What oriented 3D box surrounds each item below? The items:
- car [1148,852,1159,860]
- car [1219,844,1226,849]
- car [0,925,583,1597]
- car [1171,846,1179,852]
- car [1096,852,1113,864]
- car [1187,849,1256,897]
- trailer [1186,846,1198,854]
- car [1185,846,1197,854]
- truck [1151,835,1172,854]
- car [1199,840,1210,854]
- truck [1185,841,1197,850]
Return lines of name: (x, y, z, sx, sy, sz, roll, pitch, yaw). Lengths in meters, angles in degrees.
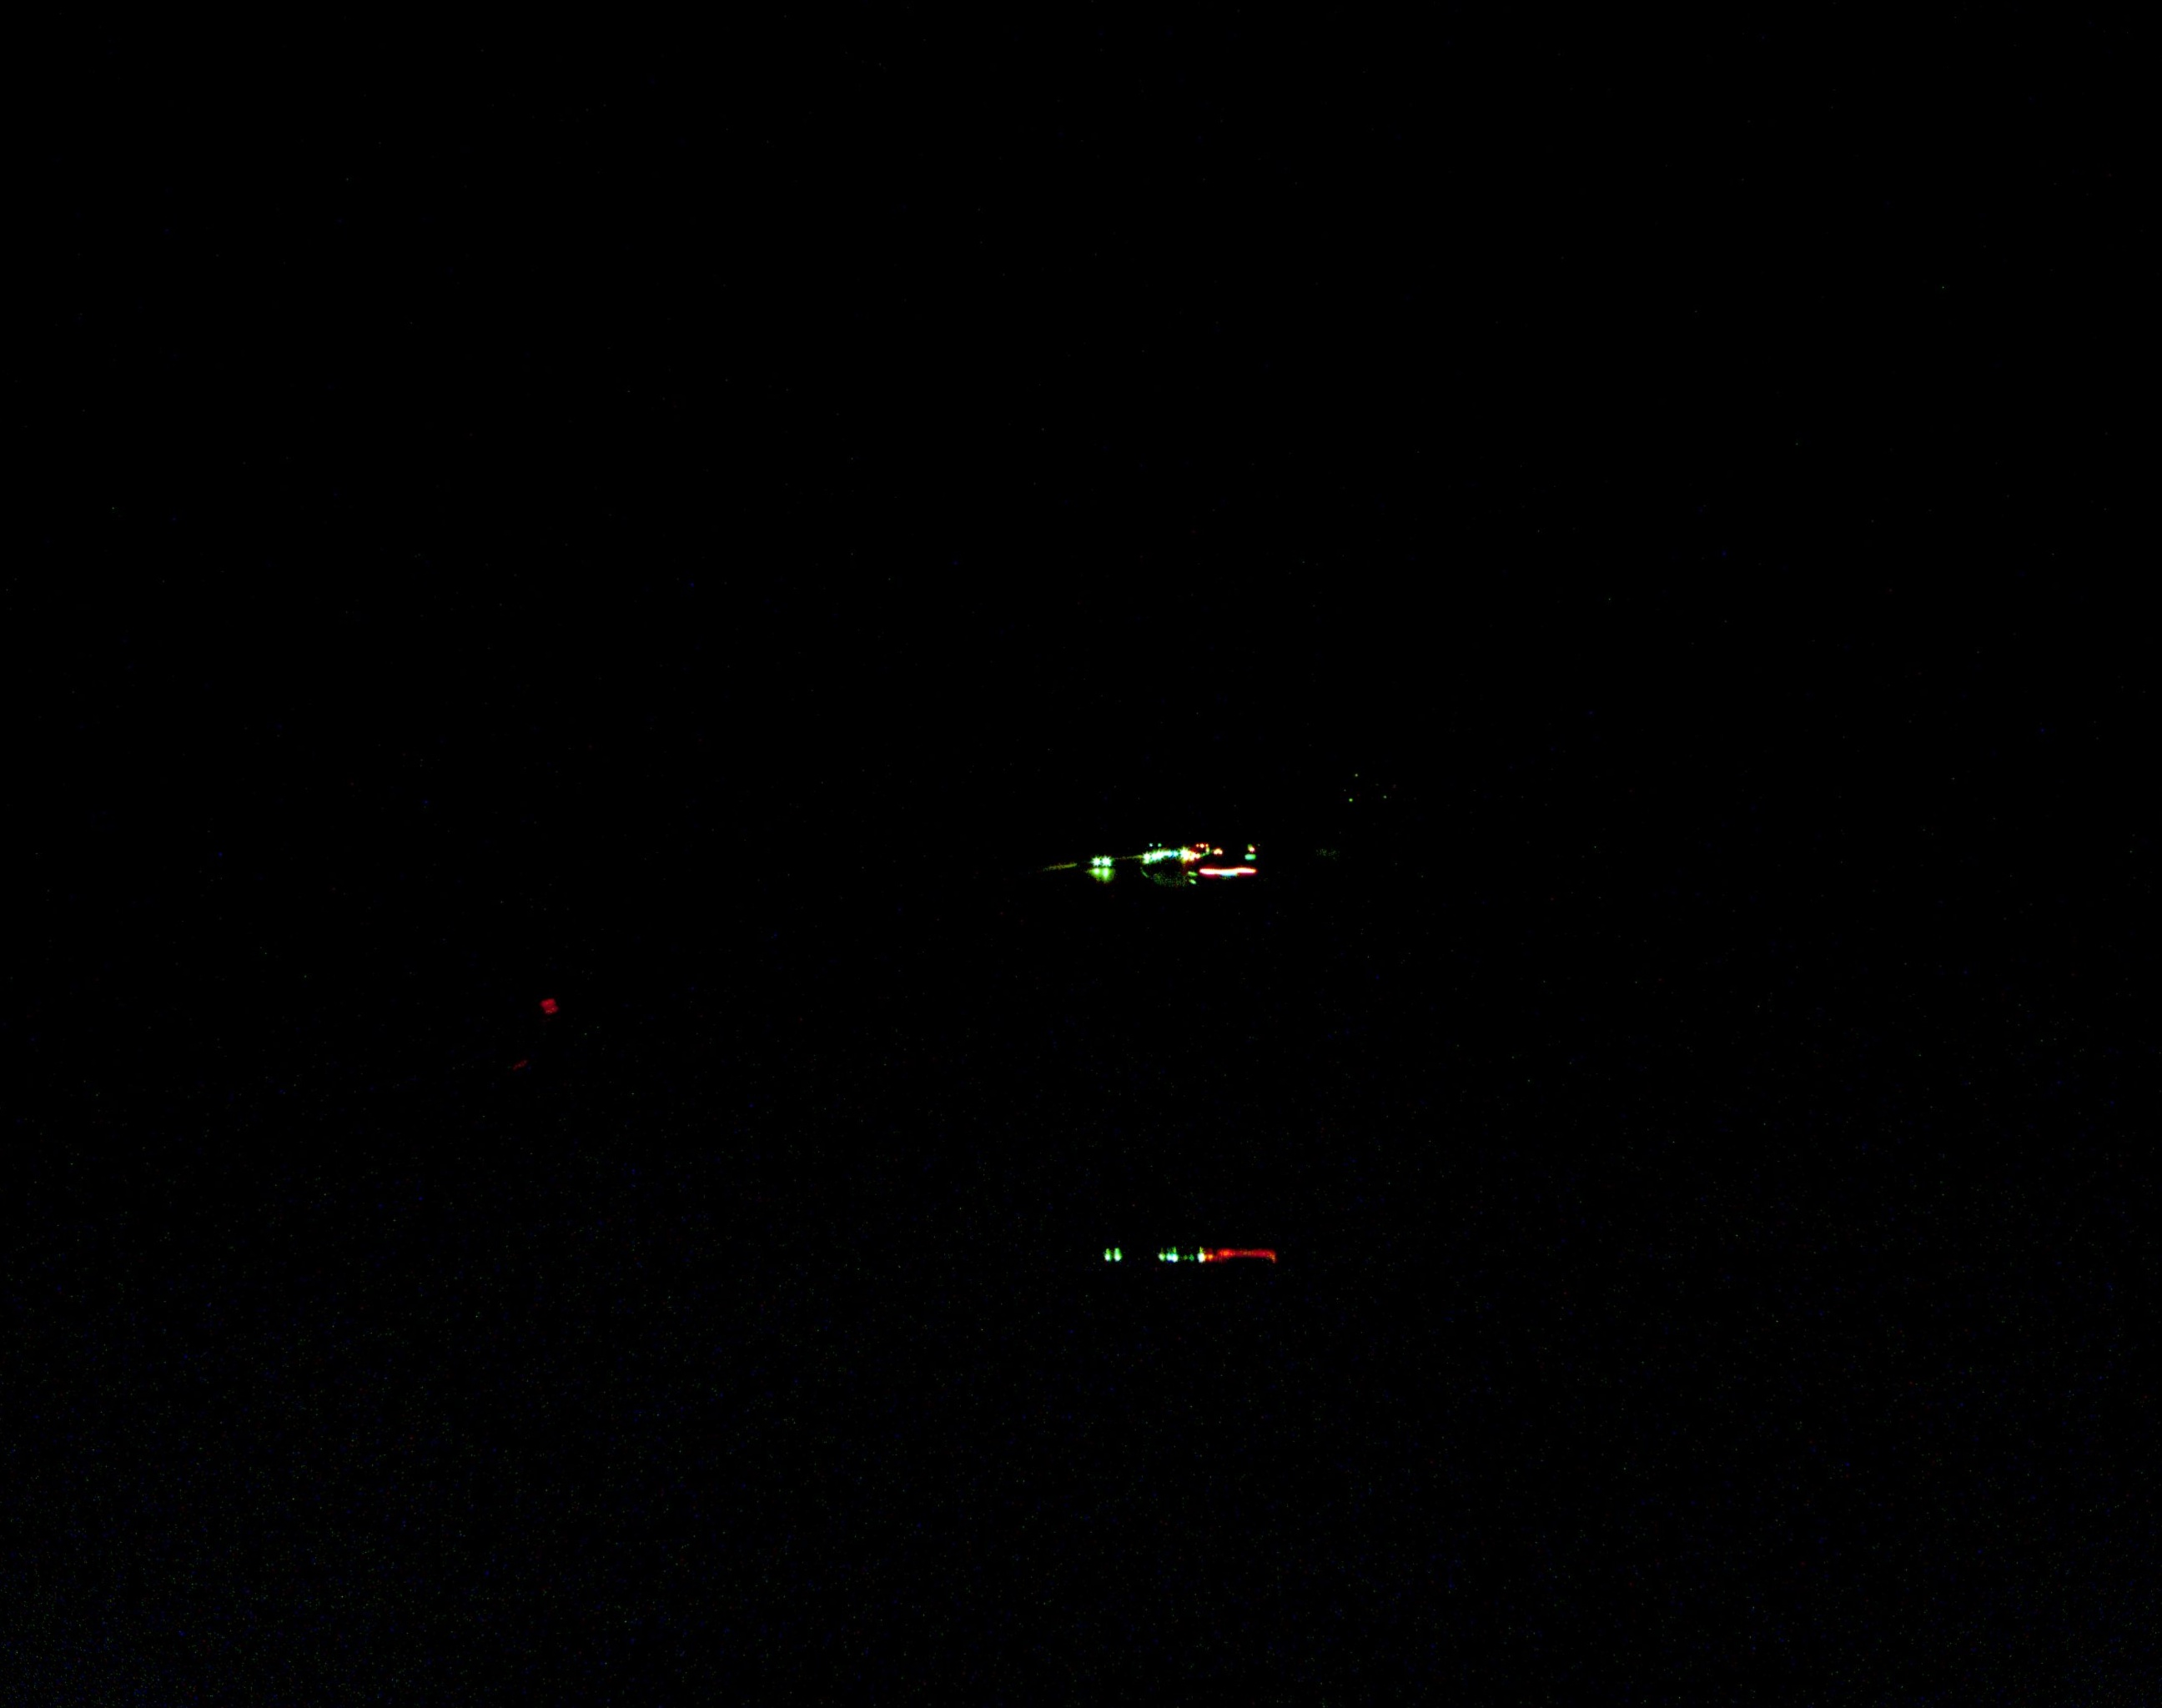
car: (13.867, 0.437, 144.853, 1.811, 1.508, 3.939, 0, 0, 11)
car: (40.561, -2.117, 218.349, 1.687, 1.450, 4.204, 0, 1, 15)
car: (-3.511, 1.067, 1.363, 1.812, 1.418, 4.876, 0, 0, 3)
car: (25.221, -1.415, 203.361, 1.689, 1.619, 4.727, 0, 0, 11)
car: (2.861, 0.480, 91.601, 1.812, 1.508, 3.937, 0, 0, 6)
car: (5.054, 0.623, 27.888, 1.823, 1.507, 4.523, -2, 1, 2)
trailer: (20.141, -0.714, 137.943, 1.887, 1.418, 3.352, 0, 0, 4)
car: (20.550, -0.707, 142.070, 1.916, 1.418, 4.954, 0, 0, 6)
truck: (19.350, -2.272, 180.704, 2.969, 4.251, 17.157, 0, 1, 13)
car: (29.425, -1.715, 181.329, 2.490, 3.088, 7.389, 0, 1, 9)
truck: (30.051, -2.251, 207.925, 2.424, 2.410, 7.098, 0, 1, 14)
